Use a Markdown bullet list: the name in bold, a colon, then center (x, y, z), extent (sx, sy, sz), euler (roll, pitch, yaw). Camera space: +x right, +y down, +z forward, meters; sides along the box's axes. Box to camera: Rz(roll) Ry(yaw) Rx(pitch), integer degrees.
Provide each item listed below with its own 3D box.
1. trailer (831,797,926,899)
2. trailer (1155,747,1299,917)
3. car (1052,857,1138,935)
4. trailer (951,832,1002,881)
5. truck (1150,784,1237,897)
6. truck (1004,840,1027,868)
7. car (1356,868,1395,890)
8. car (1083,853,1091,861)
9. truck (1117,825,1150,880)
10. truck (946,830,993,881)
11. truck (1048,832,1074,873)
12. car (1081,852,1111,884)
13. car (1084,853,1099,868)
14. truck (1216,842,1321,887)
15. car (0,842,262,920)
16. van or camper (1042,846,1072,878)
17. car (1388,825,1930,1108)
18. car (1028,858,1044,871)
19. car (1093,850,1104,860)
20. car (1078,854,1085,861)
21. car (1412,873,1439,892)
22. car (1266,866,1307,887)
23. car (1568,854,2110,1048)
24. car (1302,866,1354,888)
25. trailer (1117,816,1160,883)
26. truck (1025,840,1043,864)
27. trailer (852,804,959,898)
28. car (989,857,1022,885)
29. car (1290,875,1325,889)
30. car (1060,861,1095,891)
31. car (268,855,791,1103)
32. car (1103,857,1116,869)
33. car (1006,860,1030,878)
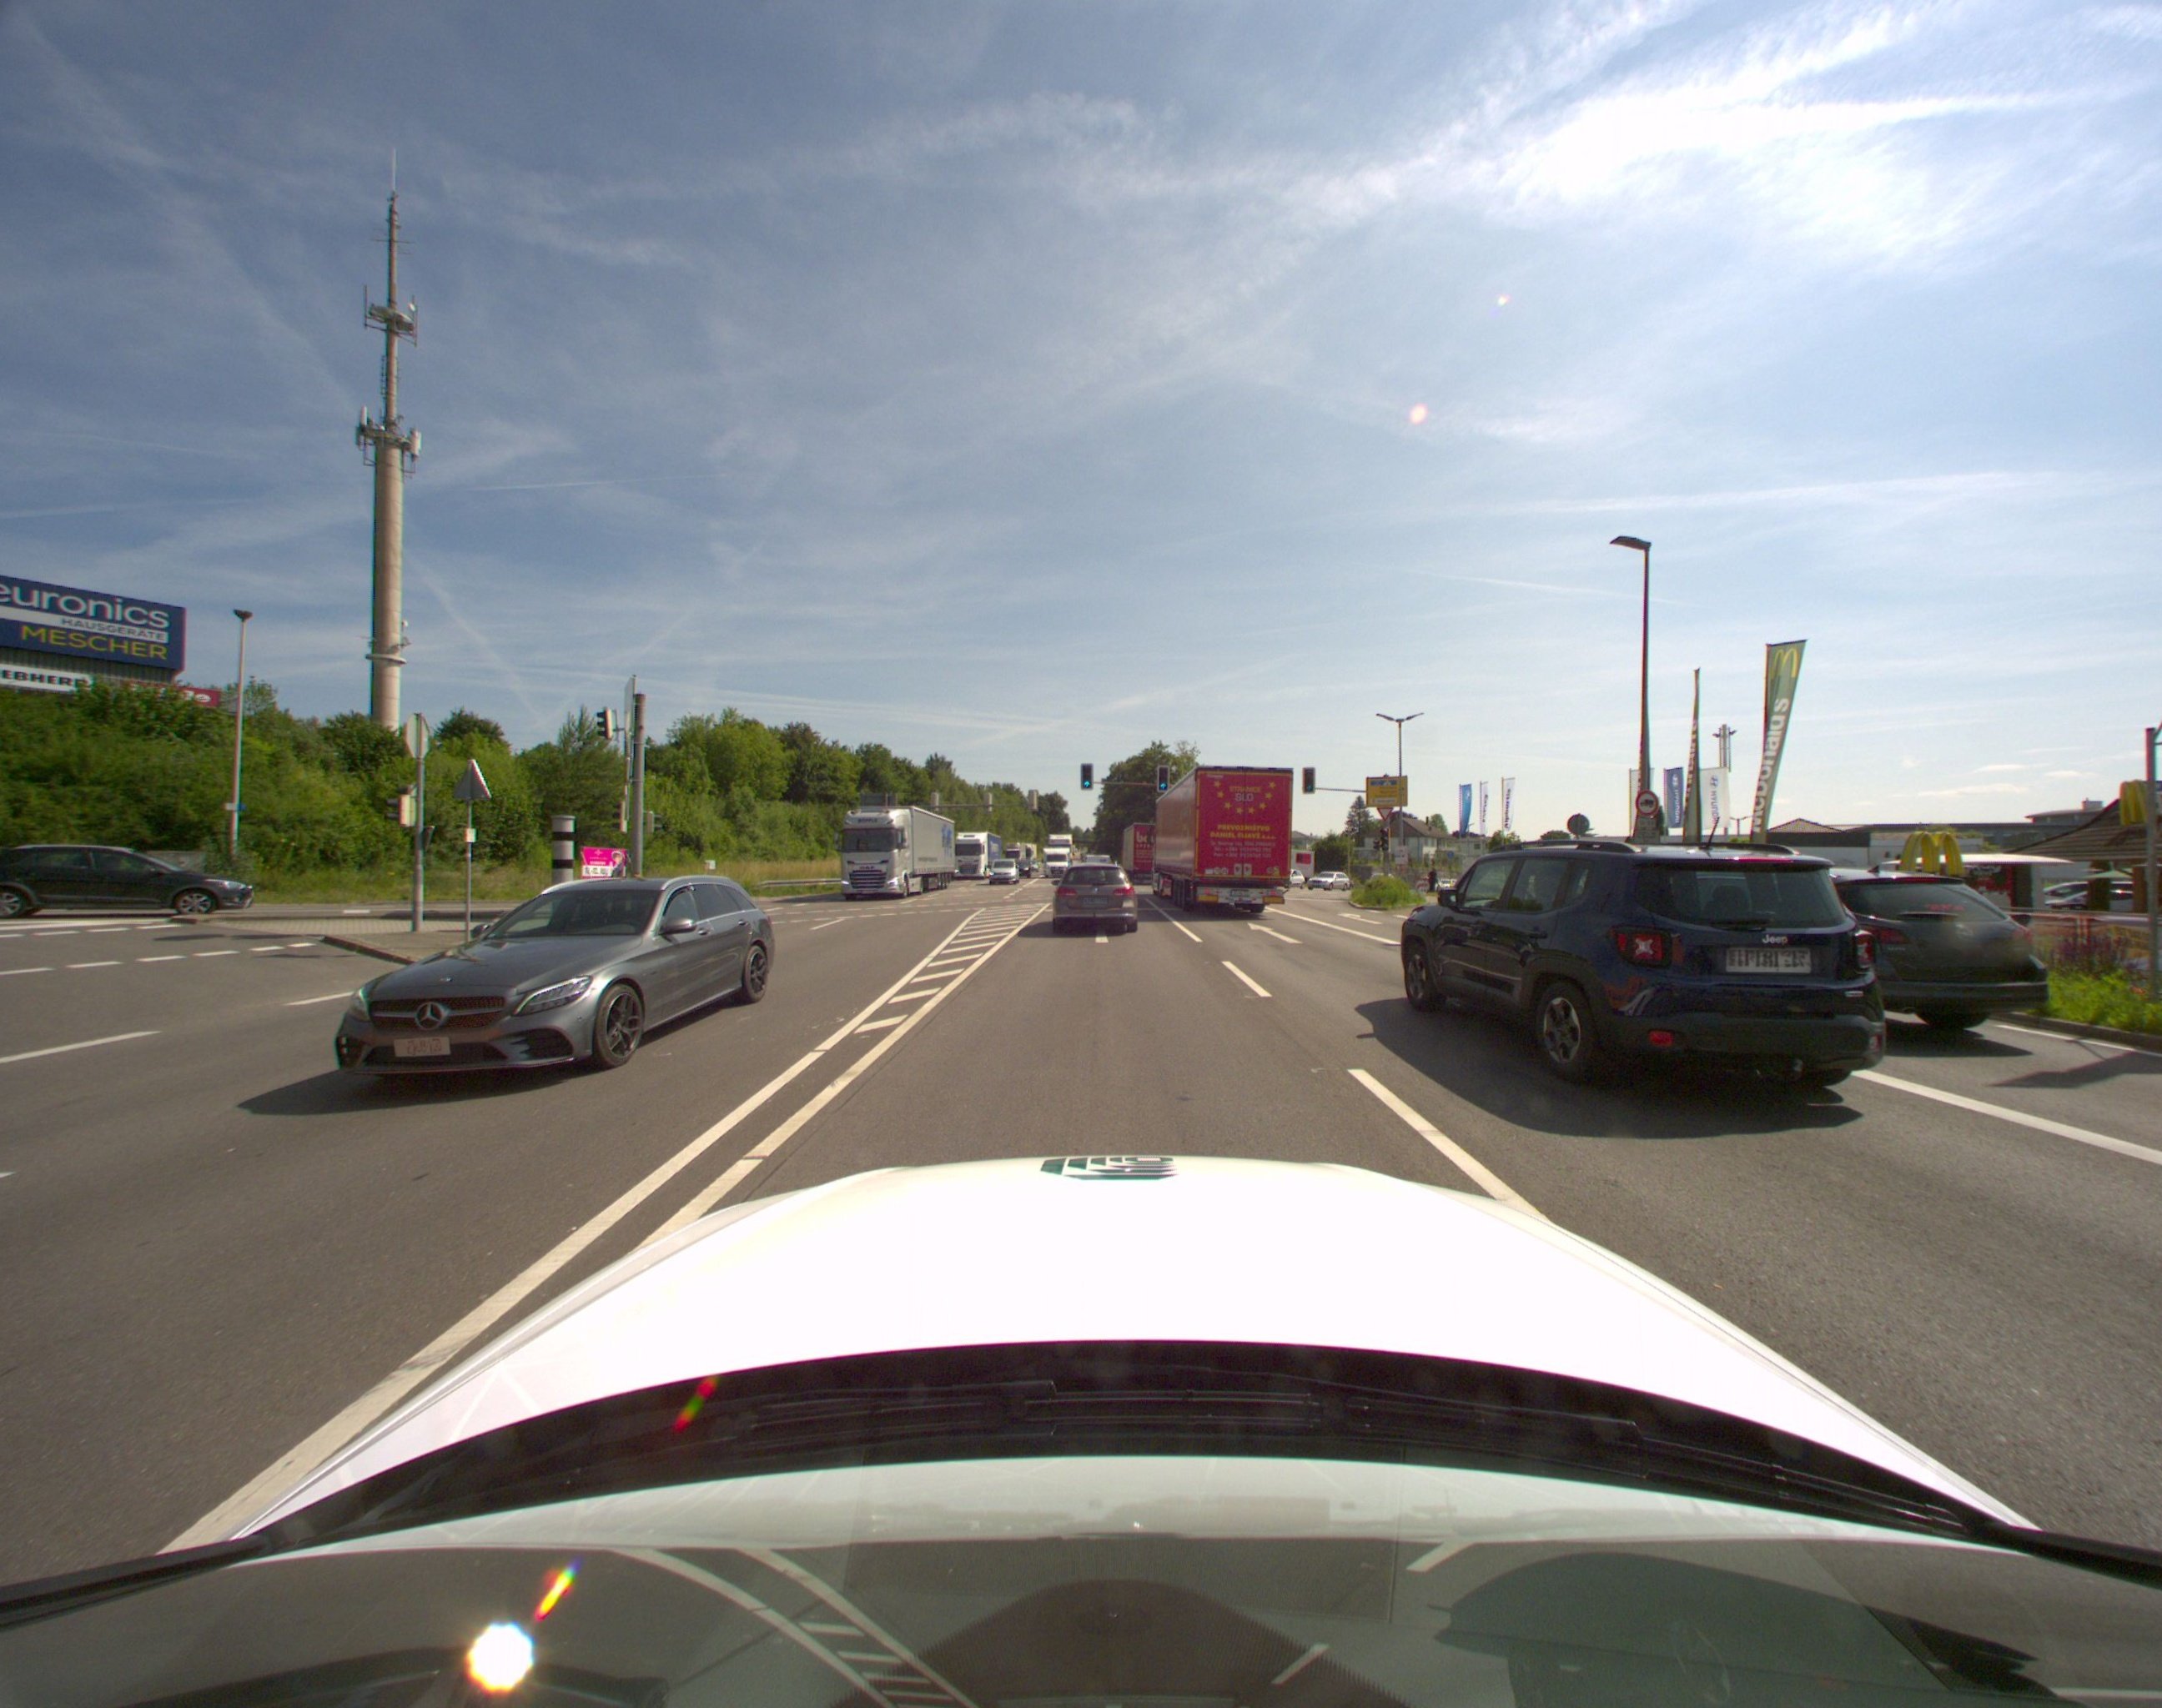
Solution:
- **trailer**: center (-8.749, -0.225, 35.977), extent (2.637, 4.105, 6.178), euler (-1, -1, 0)
- **trailer**: center (4.399, -0.523, 27.813), extent (2.829, 4.365, 13.171), euler (1, 0, 2)
- **car**: center (0.243, 0.834, 17.967), extent (1.686, 1.513, 3.998), euler (-1, 0, -1)
- **trailer**: center (-9.598, 0.253, 76.504), extent (3.084, 4.080, 14.120), euler (-1, 0, -1)
- **truck**: center (4.567, -0.494, 34.170), extent (2.860, 4.281, 5.840), euler (1, -1, 1)
- **truck**: center (-9.846, 0.073, 123.328), extent (2.721, 3.999, 9.615), euler (-1, 0, -1)
- **car**: center (22.341, 1.887, 61.621), extent (1.975, 1.575, 4.024), euler (2, -1, 31)
- **car**: center (1.525, 0.778, 202.814), extent (1.988, 2.014, 3.998), euler (-1, 0, -1)
- **truck**: center (4.128, -0.101, 65.228), extent (2.398, 4.128, 5.522), euler (-1, -1, 1)
- **truck**: center (-9.480, 0.152, 69.732), extent (3.178, 4.080, 6.342), euler (-1, -1, -1)
- **truck**: center (-2.113, -0.108, 84.826), extent (2.530, 4.088, 6.261), euler (-1, -1, -2)
- **car**: center (0.956, 0.896, 53.068), extent (1.765, 1.936, 3.975), euler (-1, 0, -1)
- **car**: center (1.432, 0.957, 115.337), extent (1.988, 2.014, 3.998), euler (-1, 0, -1)
- **truck**: center (18.139, 1.055, 78.800), extent (9.693, 3.628, 2.751), euler (5, -2, -17)
- **car**: center (-21.325, 0.602, 17.809), extent (4.661, 1.527, 1.892), euler (4, -2, -43)
- **van or camper**: center (-2.024, 0.704, 71.126), extent (2.323, 2.600, 6.977), euler (-1, 0, 0)
- **car**: center (4.179, 0.683, 6.833), extent (1.764, 1.654, 4.001), euler (-1, 0, 1)
- **car**: center (-5.411, 1.266, 98.426), extent (1.719, 1.502, 4.000), euler (-1, 0, 1)
- **car**: center (3.519, 0.269, 164.091), extent (1.988, 2.014, 3.998), euler (-1, 0, -1)
- **car**: center (0.244, 0.938, 243.540), extent (1.988, 2.014, 3.998), euler (-1, 0, -1)
- **car**: center (30.835, 2.573, 72.888), extent (1.758, 1.575, 3.730), euler (2, -1, 30)
- **car**: center (16.357, 1.829, 64.723), extent (1.689, 1.504, 3.778), euler (1, -2, 40)
- **car**: center (7.462, 0.794, 8.834), extent (1.984, 1.519, 4.455), euler (1, 0, 5)
- **car**: center (19.191, 1.822, 63.182), extent (1.975, 1.505, 5.030), euler (1, -2, 40)
- **trailer**: center (3.974, -0.225, 58.569), extent (2.386, 4.243, 13.080), euler (-1, 0, 1)
- **truck**: center (-8.309, -0.355, 143.910), extent (2.822, 4.116, 9.676), euler (-1, 0, -1)
- **trailer**: center (-8.833, -0.100, 43.079), extent (2.683, 4.148, 13.875), euler (-1, 0, 0)
- **car**: center (-5.028, 1.117, 54.614), extent (1.838, 1.732, 4.586), euler (1, 0, -1)
- **car**: center (23.811, 2.937, 85.512), extent (1.974, 1.460, 4.347), euler (-1, -3, 39)
- **car**: center (-0.217, 1.149, 43.400), extent (1.765, 1.513, 3.998), euler (-1, 0, -1)
- **car**: center (-4.578, 0.849, 7.859), extent (1.916, 1.602, 4.586), euler (-2, 0, -1)
- **car**: center (4.706, 1.483, 134.054), extent (1.988, 2.014, 3.998), euler (-1, 0, -1)
- **car**: center (-5.479, 1.287, 71.443), extent (1.989, 1.485, 4.448), euler (-1, 0, -3)
